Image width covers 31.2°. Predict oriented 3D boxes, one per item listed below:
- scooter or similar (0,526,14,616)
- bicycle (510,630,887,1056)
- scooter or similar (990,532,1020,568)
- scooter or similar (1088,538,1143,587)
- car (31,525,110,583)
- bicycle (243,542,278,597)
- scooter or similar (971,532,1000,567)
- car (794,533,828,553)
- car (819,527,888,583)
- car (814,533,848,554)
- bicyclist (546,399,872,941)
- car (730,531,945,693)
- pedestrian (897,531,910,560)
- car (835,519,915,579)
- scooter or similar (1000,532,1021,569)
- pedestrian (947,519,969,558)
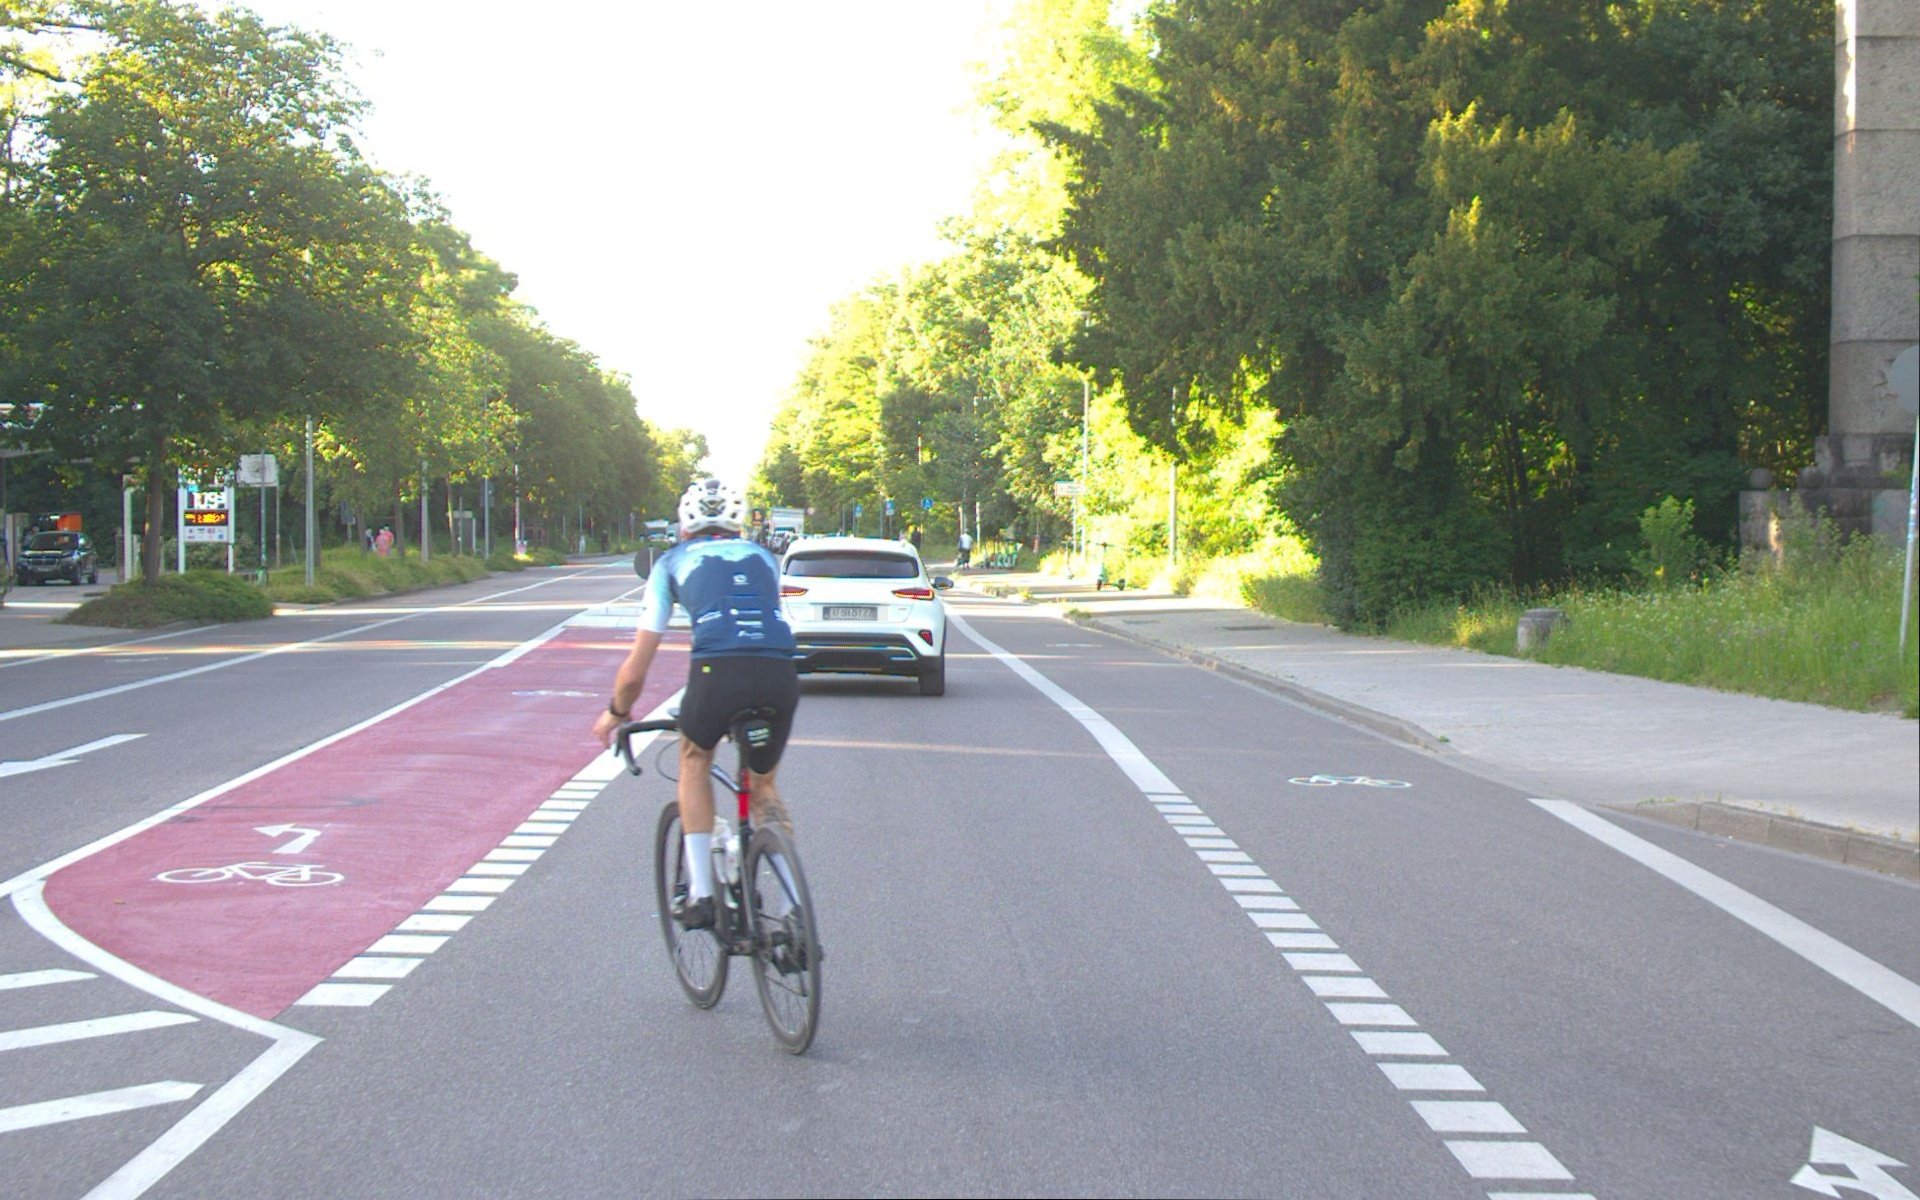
[{"bbox_3d":[-18.695,-0.552,65.621,0.827,1.711,1.741,0,1,-2],"label":"scooter or similar"},{"bbox_3d":[-0.749,0.682,10.601,0.891,1.091,2.136,1,1,2],"label":"bicycle"},{"bbox_3d":[1.774,-1.989,135.843,0.682,1.418,1.682,0,1,-17],"label":"scooter or similar"},{"bbox_3d":[3.994,-0.969,88.325,0.534,1.245,1.537,1,1,44],"label":"scooter or similar"},{"bbox_3d":[-26.738,-1.392,103.460,1.710,1.685,4.455,0,1,-7],"label":"car"},{"bbox_3d":[-16.189,-0.722,79.555,0.654,1.246,2.160,0,1,-8],"label":"bicycle"},{"bbox_3d":[1.043,-2.061,139.565,0.682,1.418,1.682,0,1,-19],"label":"scooter or similar"},{"bbox_3d":[-9.971,-3.840,229.574,1.993,1.322,4.001,0,1,-7],"label":"car"},{"bbox_3d":[-2.776,-1.195,90.136,1.676,1.413,3.574,0,1,0],"label":"car"},{"bbox_3d":[-8.020,-3.521,213.950,1.993,1.322,4.001,0,1,-4],"label":"car"},{"bbox_3d":[-0.745,0.194,10.476,0.860,1.562,0.881,1,1,2],"label":"bicyclist"},{"bbox_3d":[-1.251,0.076,33.550,1.761,1.454,3.819,1,1,-7],"label":"car"},{"bbox_3d":[-3.205,-3.125,196.449,0.698,1.647,0.876,0,1,-4],"label":"pedestrian"},{"bbox_3d":[-2.247,-1.358,90.083,1.993,1.514,4.001,0,1,-3],"label":"car"},{"bbox_3d":[1.926,-1.903,131.895,0.682,1.418,1.682,0,1,-3],"label":"scooter or similar"},{"bbox_3d":[-0.085,-2.486,139.223,0.755,1.558,0.802,-1,1,-12],"label":"pedestrian"}]
